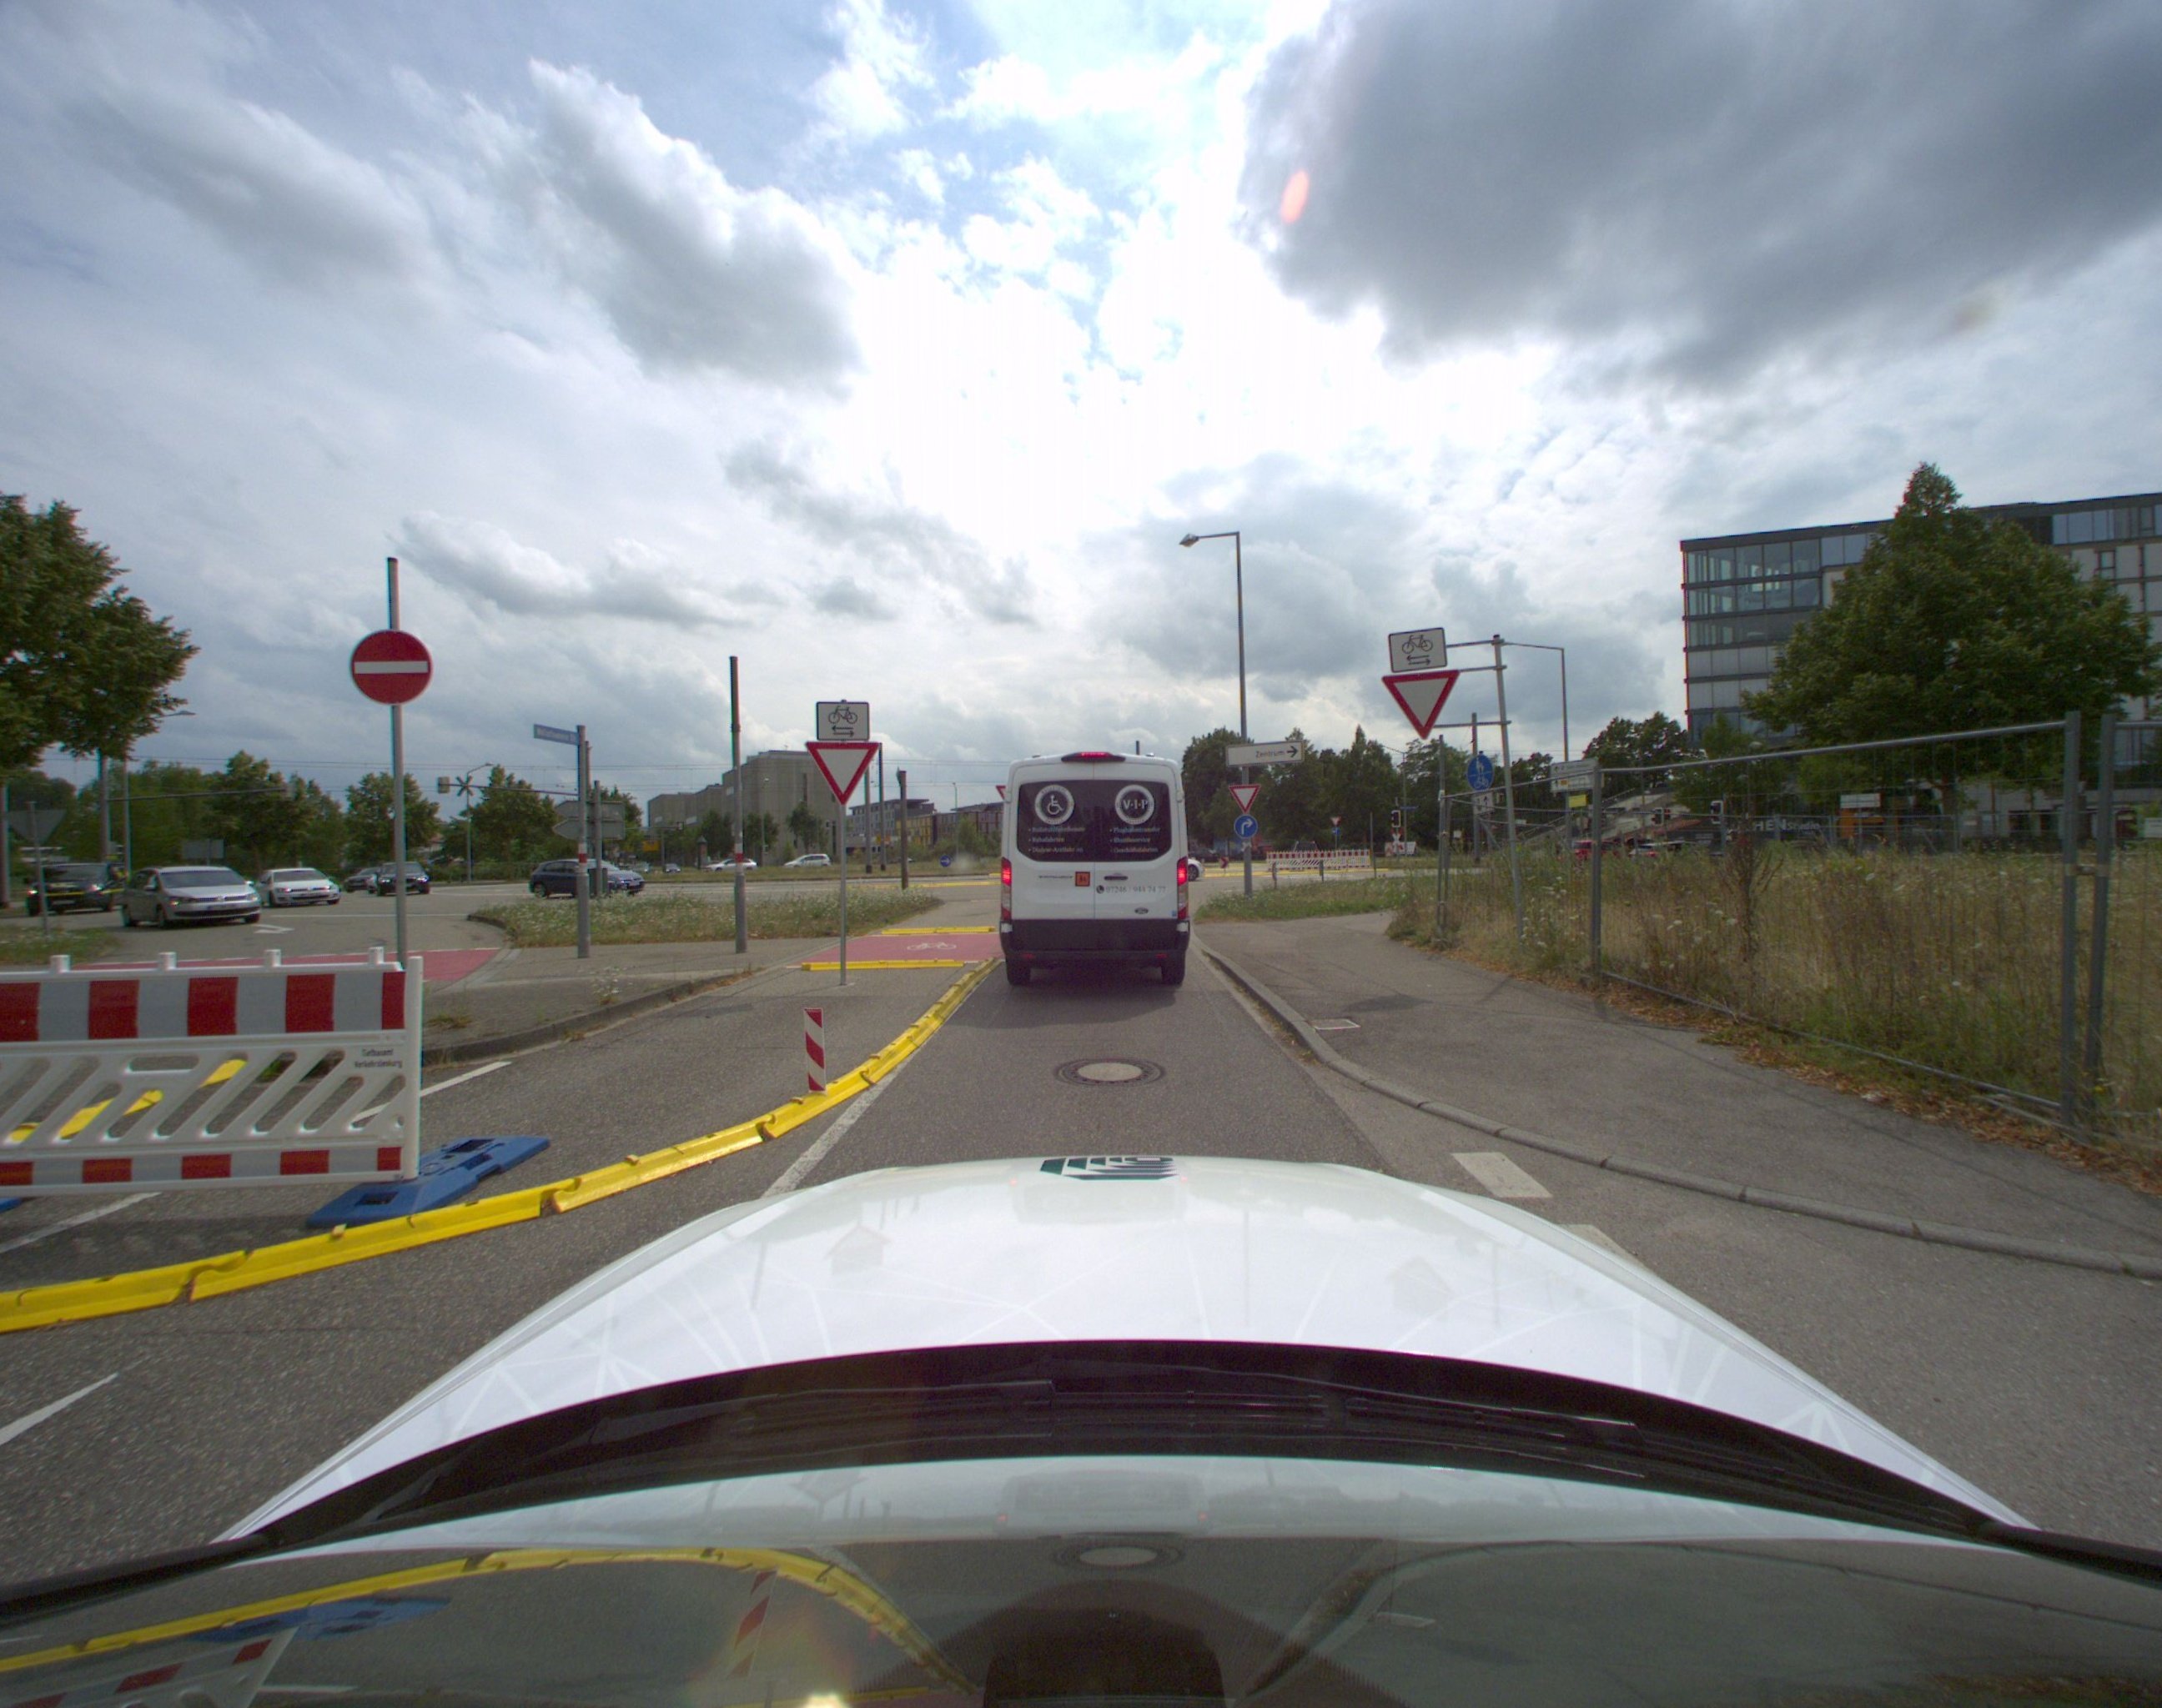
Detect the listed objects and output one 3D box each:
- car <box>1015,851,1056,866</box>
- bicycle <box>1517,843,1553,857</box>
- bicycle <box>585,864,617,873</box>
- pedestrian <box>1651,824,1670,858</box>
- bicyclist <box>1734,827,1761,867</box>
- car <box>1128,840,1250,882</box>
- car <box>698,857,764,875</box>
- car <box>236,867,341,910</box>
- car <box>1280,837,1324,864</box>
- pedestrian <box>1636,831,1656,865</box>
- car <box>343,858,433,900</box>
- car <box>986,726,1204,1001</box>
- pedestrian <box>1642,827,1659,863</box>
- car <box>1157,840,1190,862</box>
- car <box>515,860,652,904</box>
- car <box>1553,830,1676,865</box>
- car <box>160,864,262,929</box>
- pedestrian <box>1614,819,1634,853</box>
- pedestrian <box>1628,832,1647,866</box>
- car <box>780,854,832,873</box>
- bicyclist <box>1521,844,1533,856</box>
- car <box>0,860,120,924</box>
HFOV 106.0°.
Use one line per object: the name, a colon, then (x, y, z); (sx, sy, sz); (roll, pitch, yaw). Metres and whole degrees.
car: (-5.256, 0.483, 94.545); (4.371, 1.665, 1.918); (-1, 0, -33)
bicycle: (33.140, -0.305, 59.492); (2.176, 0.938, 0.618); (-1, -2, 41)
bicycle: (-50.241, 1.535, 85.264); (0.853, 0.855, 2.676); (-2, 0, 37)
pedestrian: (30.051, -0.668, 42.219); (0.575, 1.781, 0.554); (-1, 0, 8)
bicyclist: (27.902, -0.292, 34.077); (0.781, 1.627, 1.055); (-2, 0, 42)
car: (4.607, 0.268, 34.744); (4.753, 1.618, 1.986); (-1, 0, -20)
car: (-31.982, 1.079, 74.519); (5.212, 1.482, 1.976); (-2, 0, -42)
car: (-30.173, 1.292, 31.002); (4.205, 1.497, 1.813); (-1, 0, 31)
car: (15.252, -0.218, 56.504); (1.986, 1.750, 4.000); (-1, -1, 1)
pedestrian: (29.380, -0.314, 42.358); (0.684, 1.781, 0.554); (-1, 0, 8)
car: (-32.781, 1.190, 38.521); (4.199, 1.859, 1.802); (-1, 0, 29)
car: (0.315, 0.101, 10.948); (2.117, 2.697, 5.637); (-1, 0, 4)
pedestrian: (30.050, -0.479, 43.007); (0.526, 1.862, 0.554); (-1, 0, 8)
car: (9.950, -0.328, 87.882); (2.030, 2.279, 4.134); (0, -1, -18)
car: (-18.585, 1.043, 30.514); (4.081, 1.497, 1.805); (-1, 0, 7)
car: (26.448, -0.319, 40.519); (4.711, 1.618, 2.004); (-1, 0, 7)
car: (-24.696, 1.131, 23.110); (4.687, 1.622, 1.813); (-1, 0, 42)
pedestrian: (28.731, -0.932, 43.114); (0.684, 1.781, 0.554); (-1, 0, 8)
pedestrian: (29.437, -0.267, 43.069); (0.628, 1.781, 0.554); (-1, 0, 8)
car: (-26.742, 0.907, 79.389); (4.379, 1.665, 1.915); (-1, 0, -43)
bicyclist: (32.748, -0.272, 59.832); (0.650, 0.884, 0.611); (-2, -2, 40)
car: (-39.581, 1.438, 31.485); (5.095, 2.273, 2.012); (-1, 0, 28)
